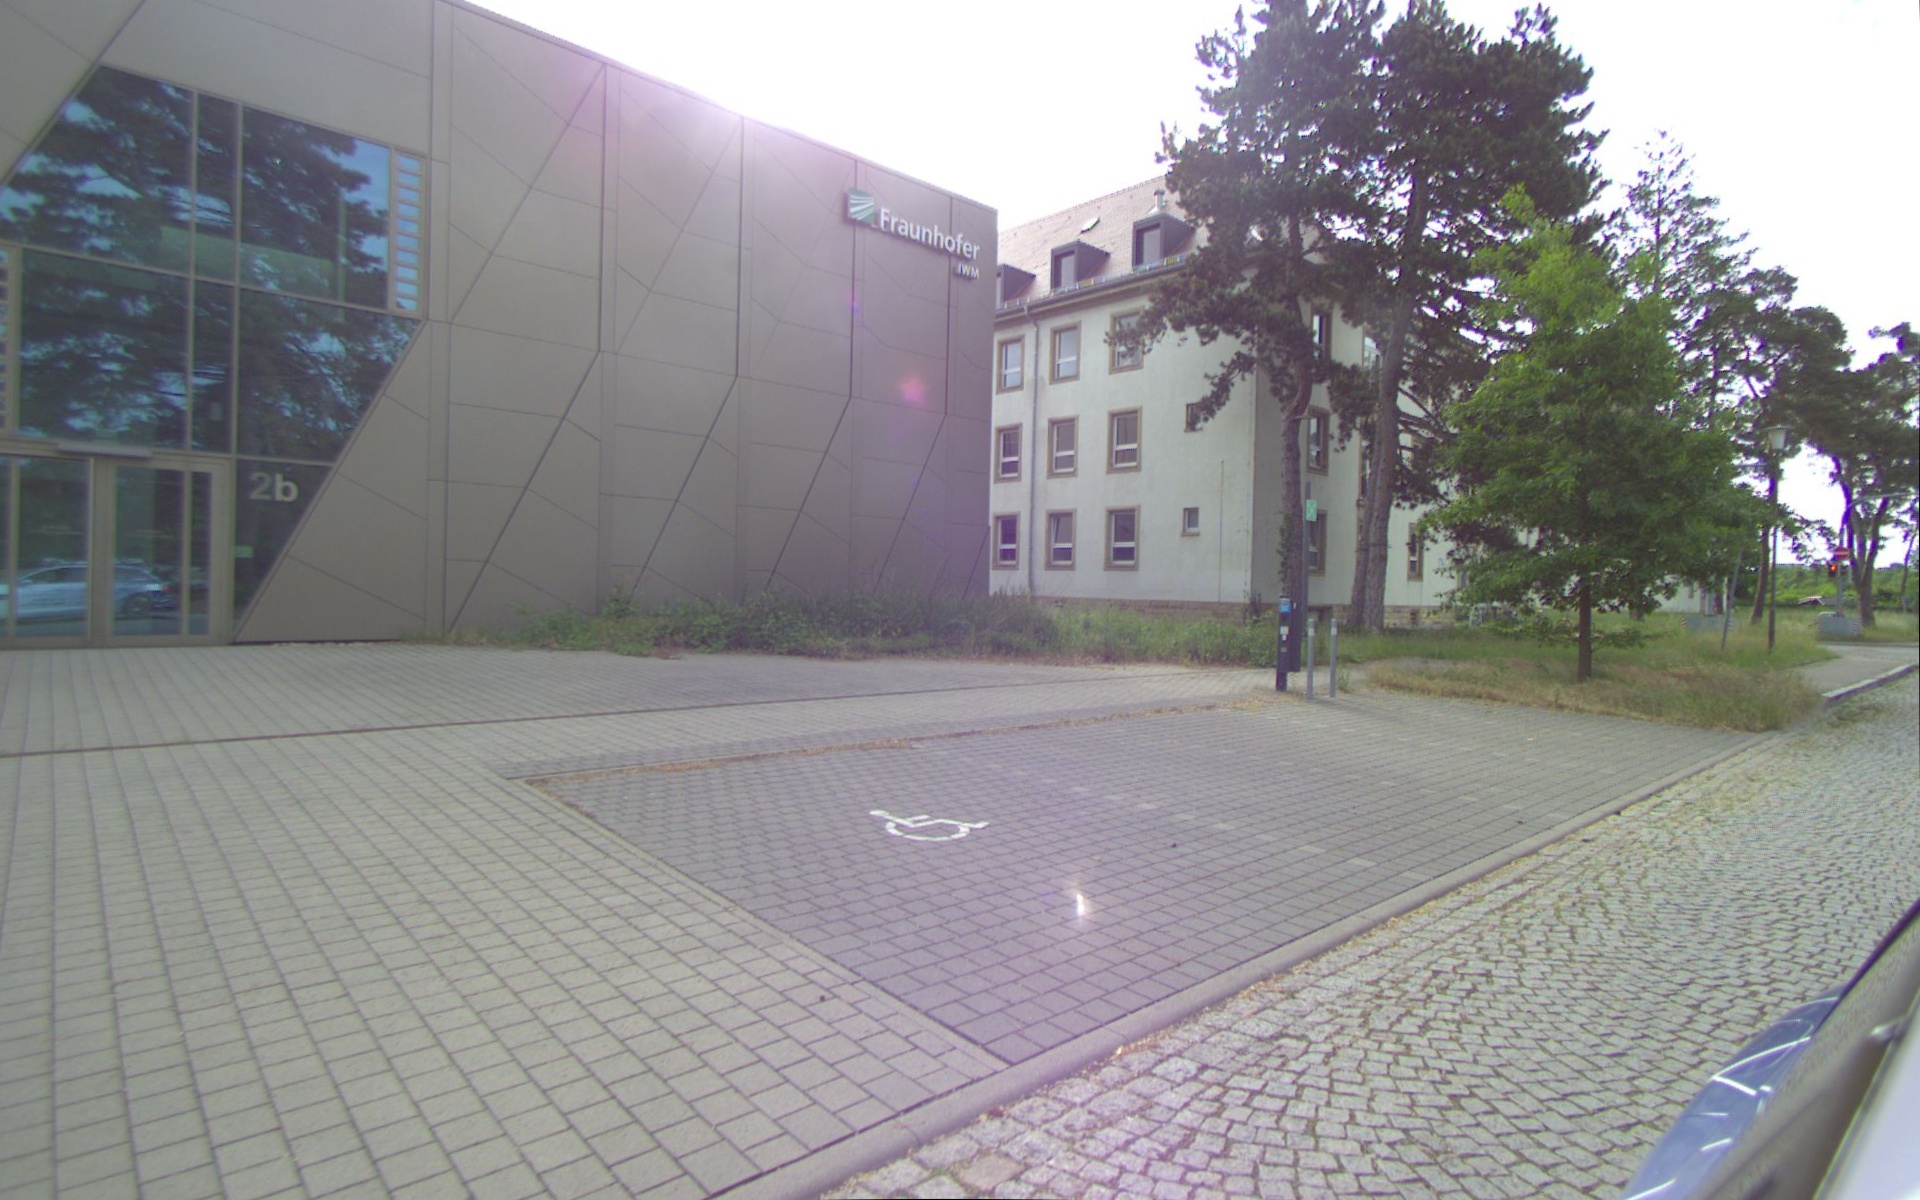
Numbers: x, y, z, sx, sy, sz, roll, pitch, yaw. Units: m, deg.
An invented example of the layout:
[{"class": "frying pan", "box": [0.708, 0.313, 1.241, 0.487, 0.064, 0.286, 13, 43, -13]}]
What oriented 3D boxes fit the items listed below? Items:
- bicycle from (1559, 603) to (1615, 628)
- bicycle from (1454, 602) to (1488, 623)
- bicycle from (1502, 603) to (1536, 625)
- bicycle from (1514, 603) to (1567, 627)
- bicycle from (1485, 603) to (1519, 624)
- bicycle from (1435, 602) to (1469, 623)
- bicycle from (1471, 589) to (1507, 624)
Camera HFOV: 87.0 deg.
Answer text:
[{"class": "bicycle", "box": [30.085, 0.748, 48.573, 2.159, 1.109, 0.706, 2, 1, 45]}, {"class": "bicycle", "box": [27.208, 0.665, 53.855, 2.160, 1.070, 0.799, 1, 1, -40]}, {"class": "bicycle", "box": [28.659, 0.707, 51.849, 2.127, 1.070, 0.799, 1, 1, -40]}, {"class": "bicycle", "box": [28.743, 0.735, 50.166, 2.159, 1.070, 0.706, 2, 1, 45]}, {"class": "bicycle", "box": [28.101, 0.692, 52.489, 2.160, 1.070, 0.799, 1, 1, -40]}, {"class": "bicycle", "box": [26.394, 0.657, 54.285, 2.127, 1.070, 0.799, 1, 1, -40]}, {"class": "bicycle", "box": [27.843, 0.336, 53.282, 2.160, 1.753, 0.905, 1, 0, -40]}]
